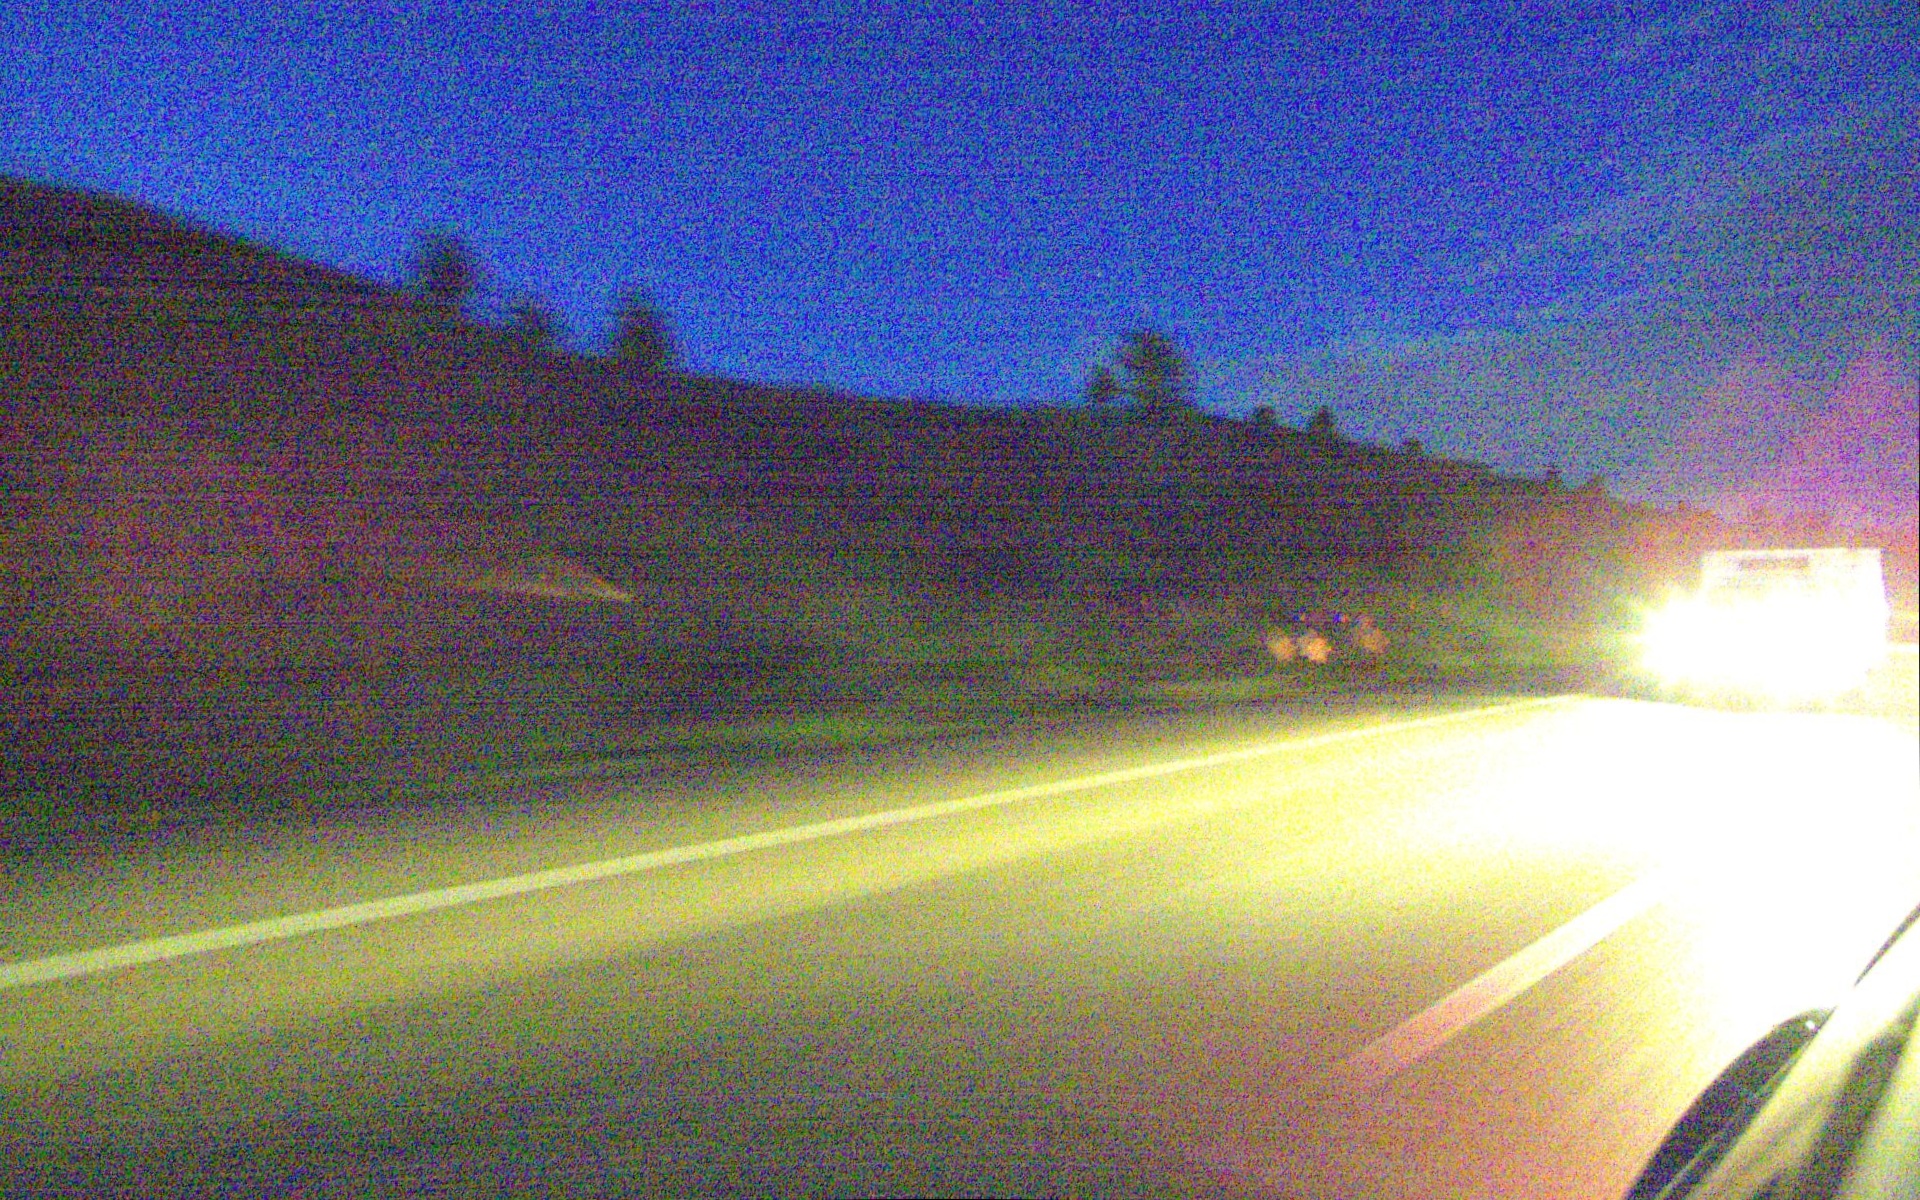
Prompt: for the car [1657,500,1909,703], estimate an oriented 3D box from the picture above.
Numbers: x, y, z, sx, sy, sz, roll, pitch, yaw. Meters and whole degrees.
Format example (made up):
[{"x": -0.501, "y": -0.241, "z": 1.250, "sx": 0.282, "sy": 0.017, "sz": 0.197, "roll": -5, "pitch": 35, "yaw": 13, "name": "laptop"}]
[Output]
[{"x": 13.072, "y": 0.009, "z": 15.924, "sx": 5.623, "sy": 2.680, "sz": 2.036, "roll": 0, "pitch": 0, "yaw": -40, "name": "car"}]
